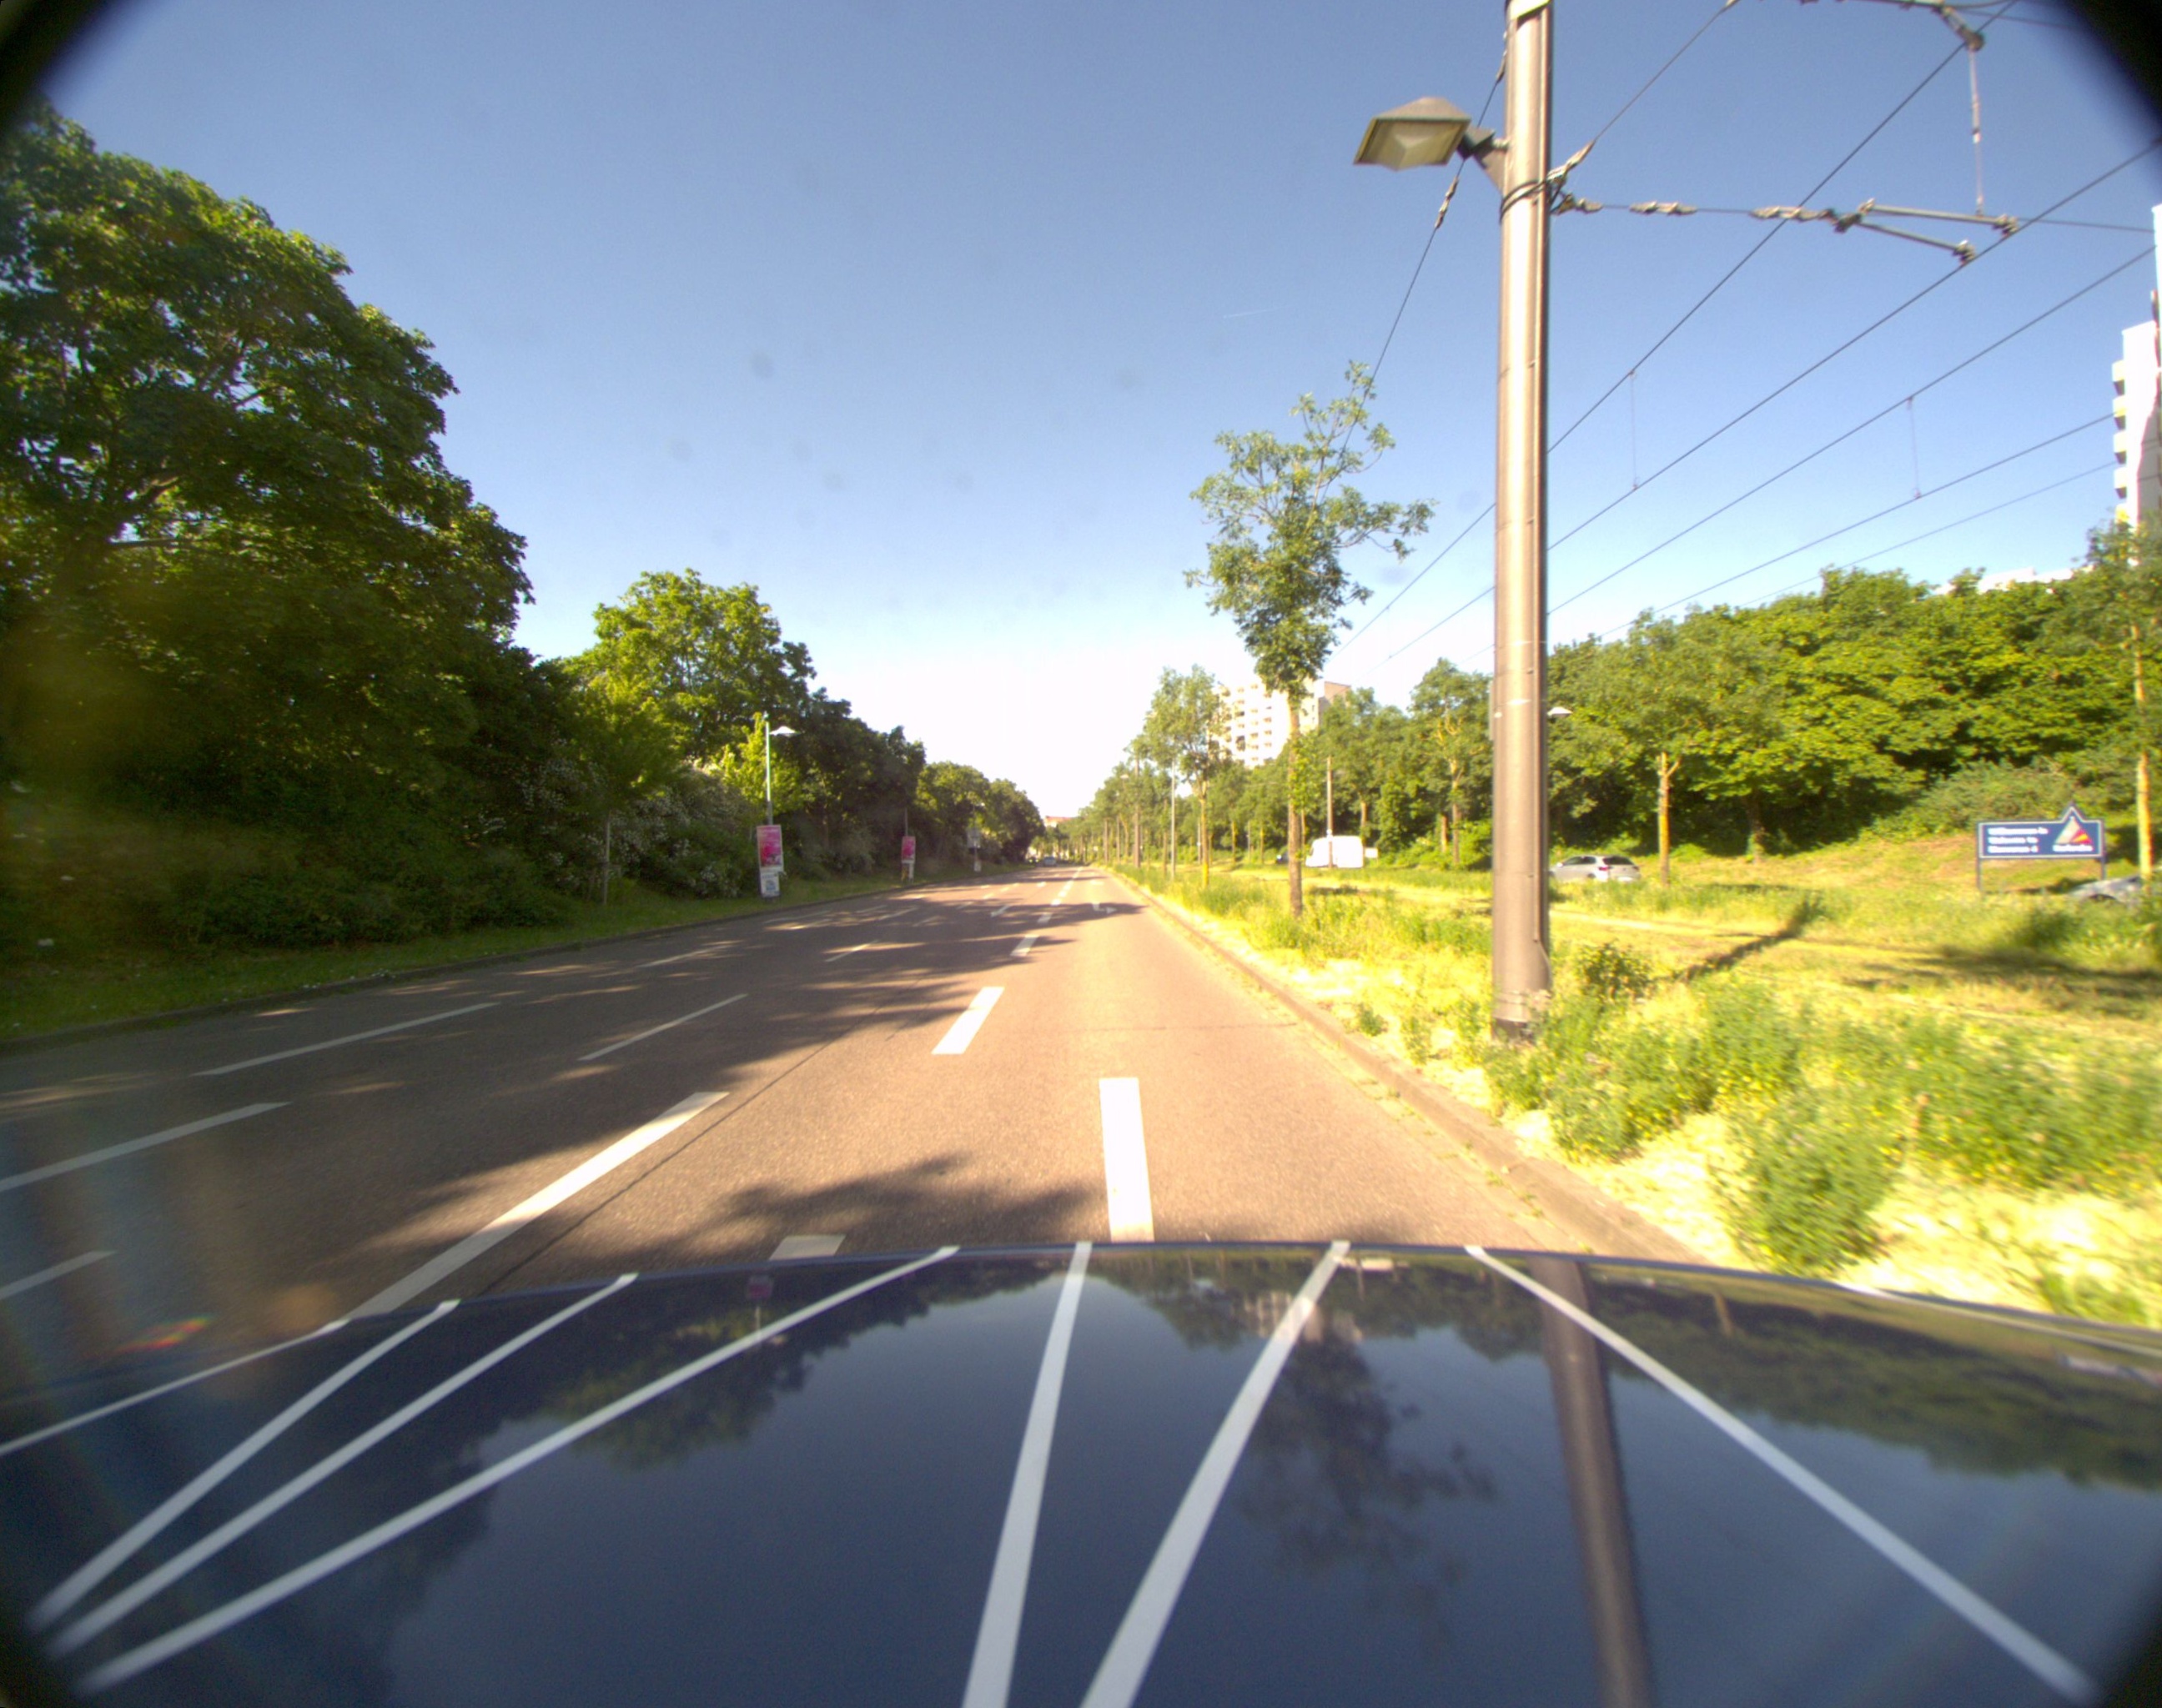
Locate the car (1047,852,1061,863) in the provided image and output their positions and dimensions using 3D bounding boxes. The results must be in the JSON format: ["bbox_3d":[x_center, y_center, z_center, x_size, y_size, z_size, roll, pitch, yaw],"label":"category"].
[{"bbox_3d":[-3.981,0.462,111.661,1.673,1.531,4.060,-4,0,1],"label":"car"}]

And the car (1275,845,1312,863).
[{"bbox_3d":[19.999,0.018,71.653,1.998,1.575,5.272,-2,1,0],"label":"car"}]

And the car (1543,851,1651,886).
[{"bbox_3d":[21.153,0.545,31.375,1.802,1.285,4.000,-2,1,2],"label":"car"}]

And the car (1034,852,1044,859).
[{"bbox_3d":[-8.948,0.244,162.836,1.831,1.400,4.216,-2,0,-1],"label":"car"}]

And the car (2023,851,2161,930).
[{"bbox_3d":[20.700,0.672,13.652,1.904,1.390,4.542,-2,1,-1],"label":"car"}]

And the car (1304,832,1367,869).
[{"bbox_3d":[17.668,-0.273,53.151,2.044,2.355,6.879,-2,1,0],"label":"car"}]
